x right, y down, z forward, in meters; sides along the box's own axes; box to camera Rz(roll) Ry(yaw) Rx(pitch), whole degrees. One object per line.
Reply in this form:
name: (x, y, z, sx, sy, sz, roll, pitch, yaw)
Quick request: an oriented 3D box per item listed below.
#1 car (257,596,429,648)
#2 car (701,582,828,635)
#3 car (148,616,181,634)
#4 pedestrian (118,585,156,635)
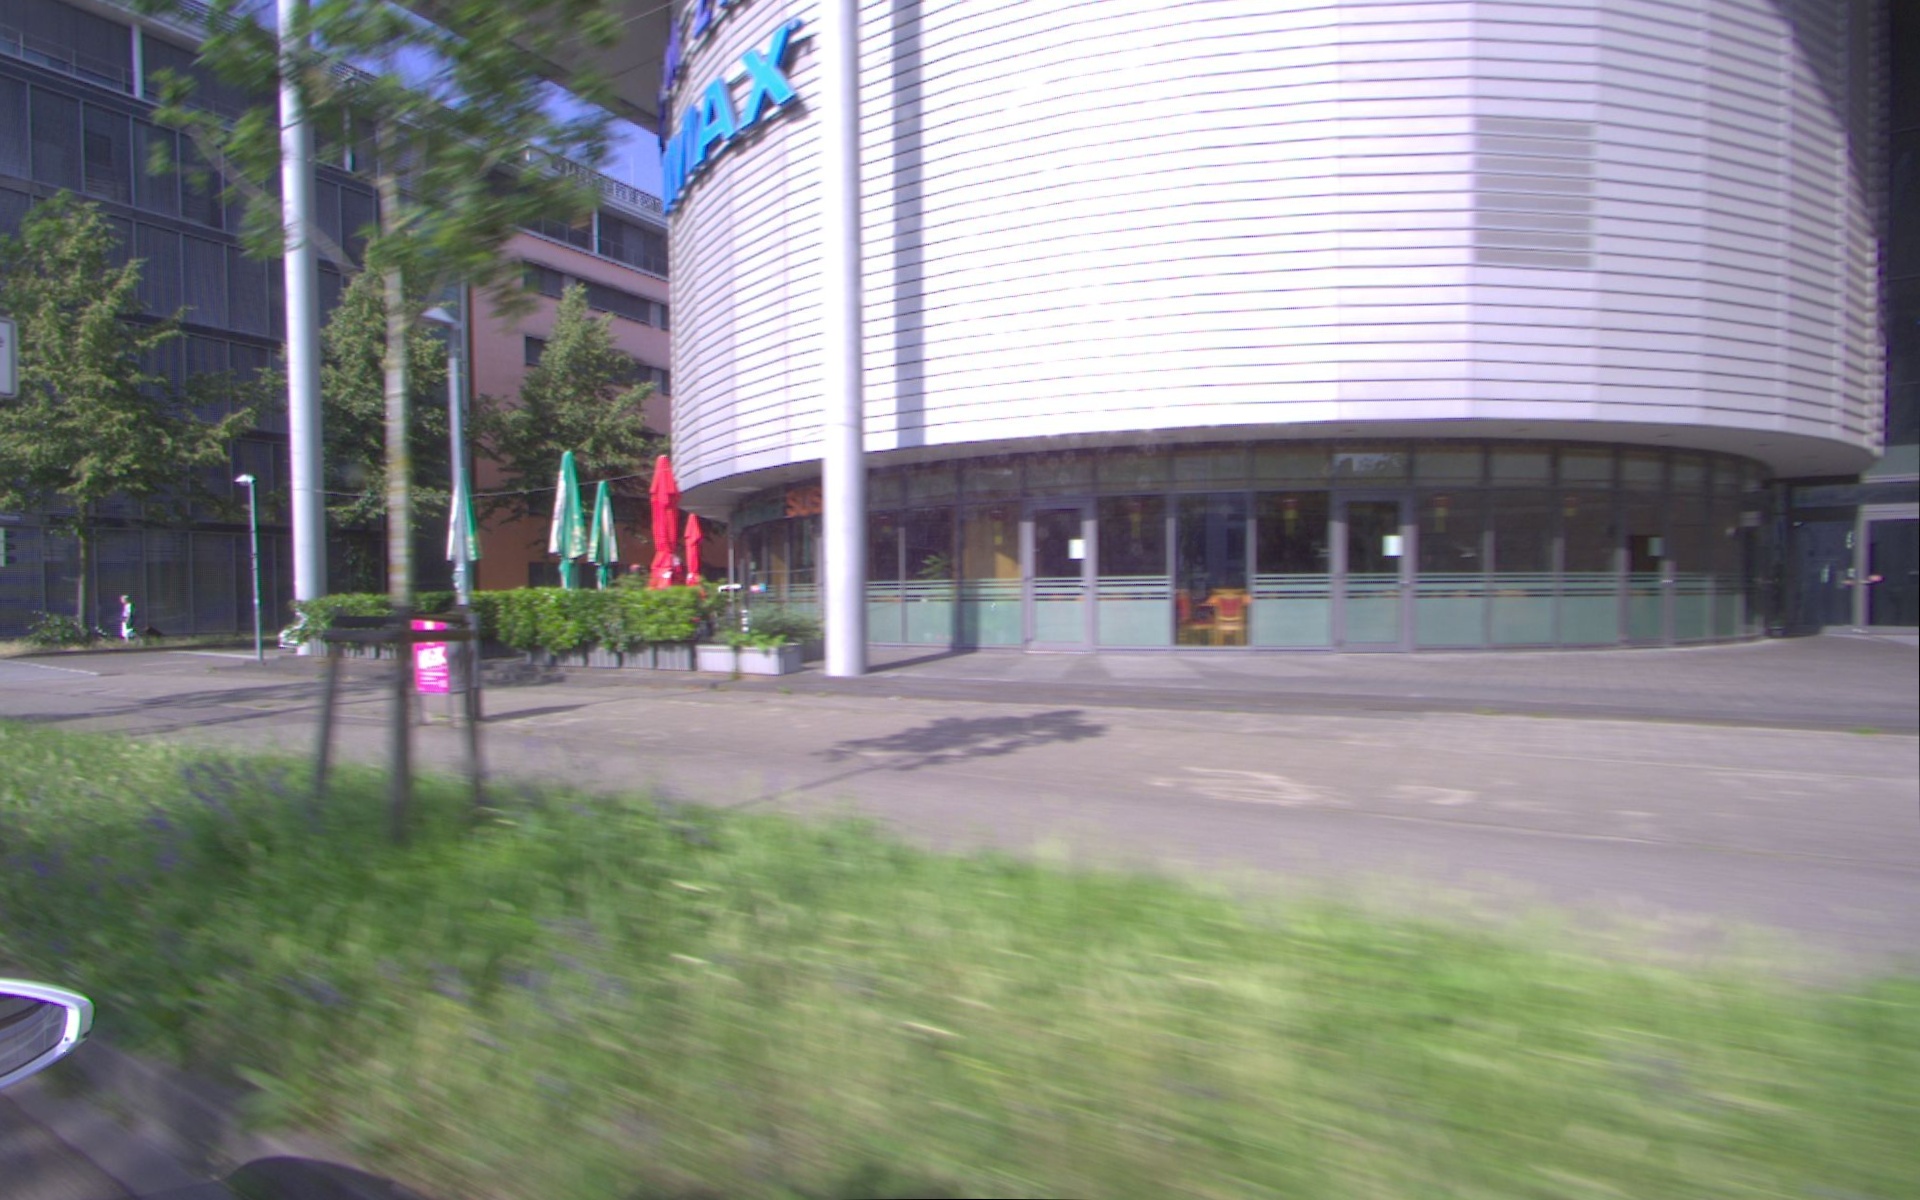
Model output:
car: (-19.731, 0.658, 32.212, 1.874, 1.485, 4.311, 1, 1, 32)
car: (-7.945, 0.306, 41.068, 2.046, 2.040, 4.855, 0, 1, 42)
car: (-27.184, 0.839, 34.212, 0.491, 0.595, 0.764, 0, 0, 31)
pedestrian: (-27.527, 0.341, 33.498, 0.703, 1.637, 0.776, 0, 1, 31)
